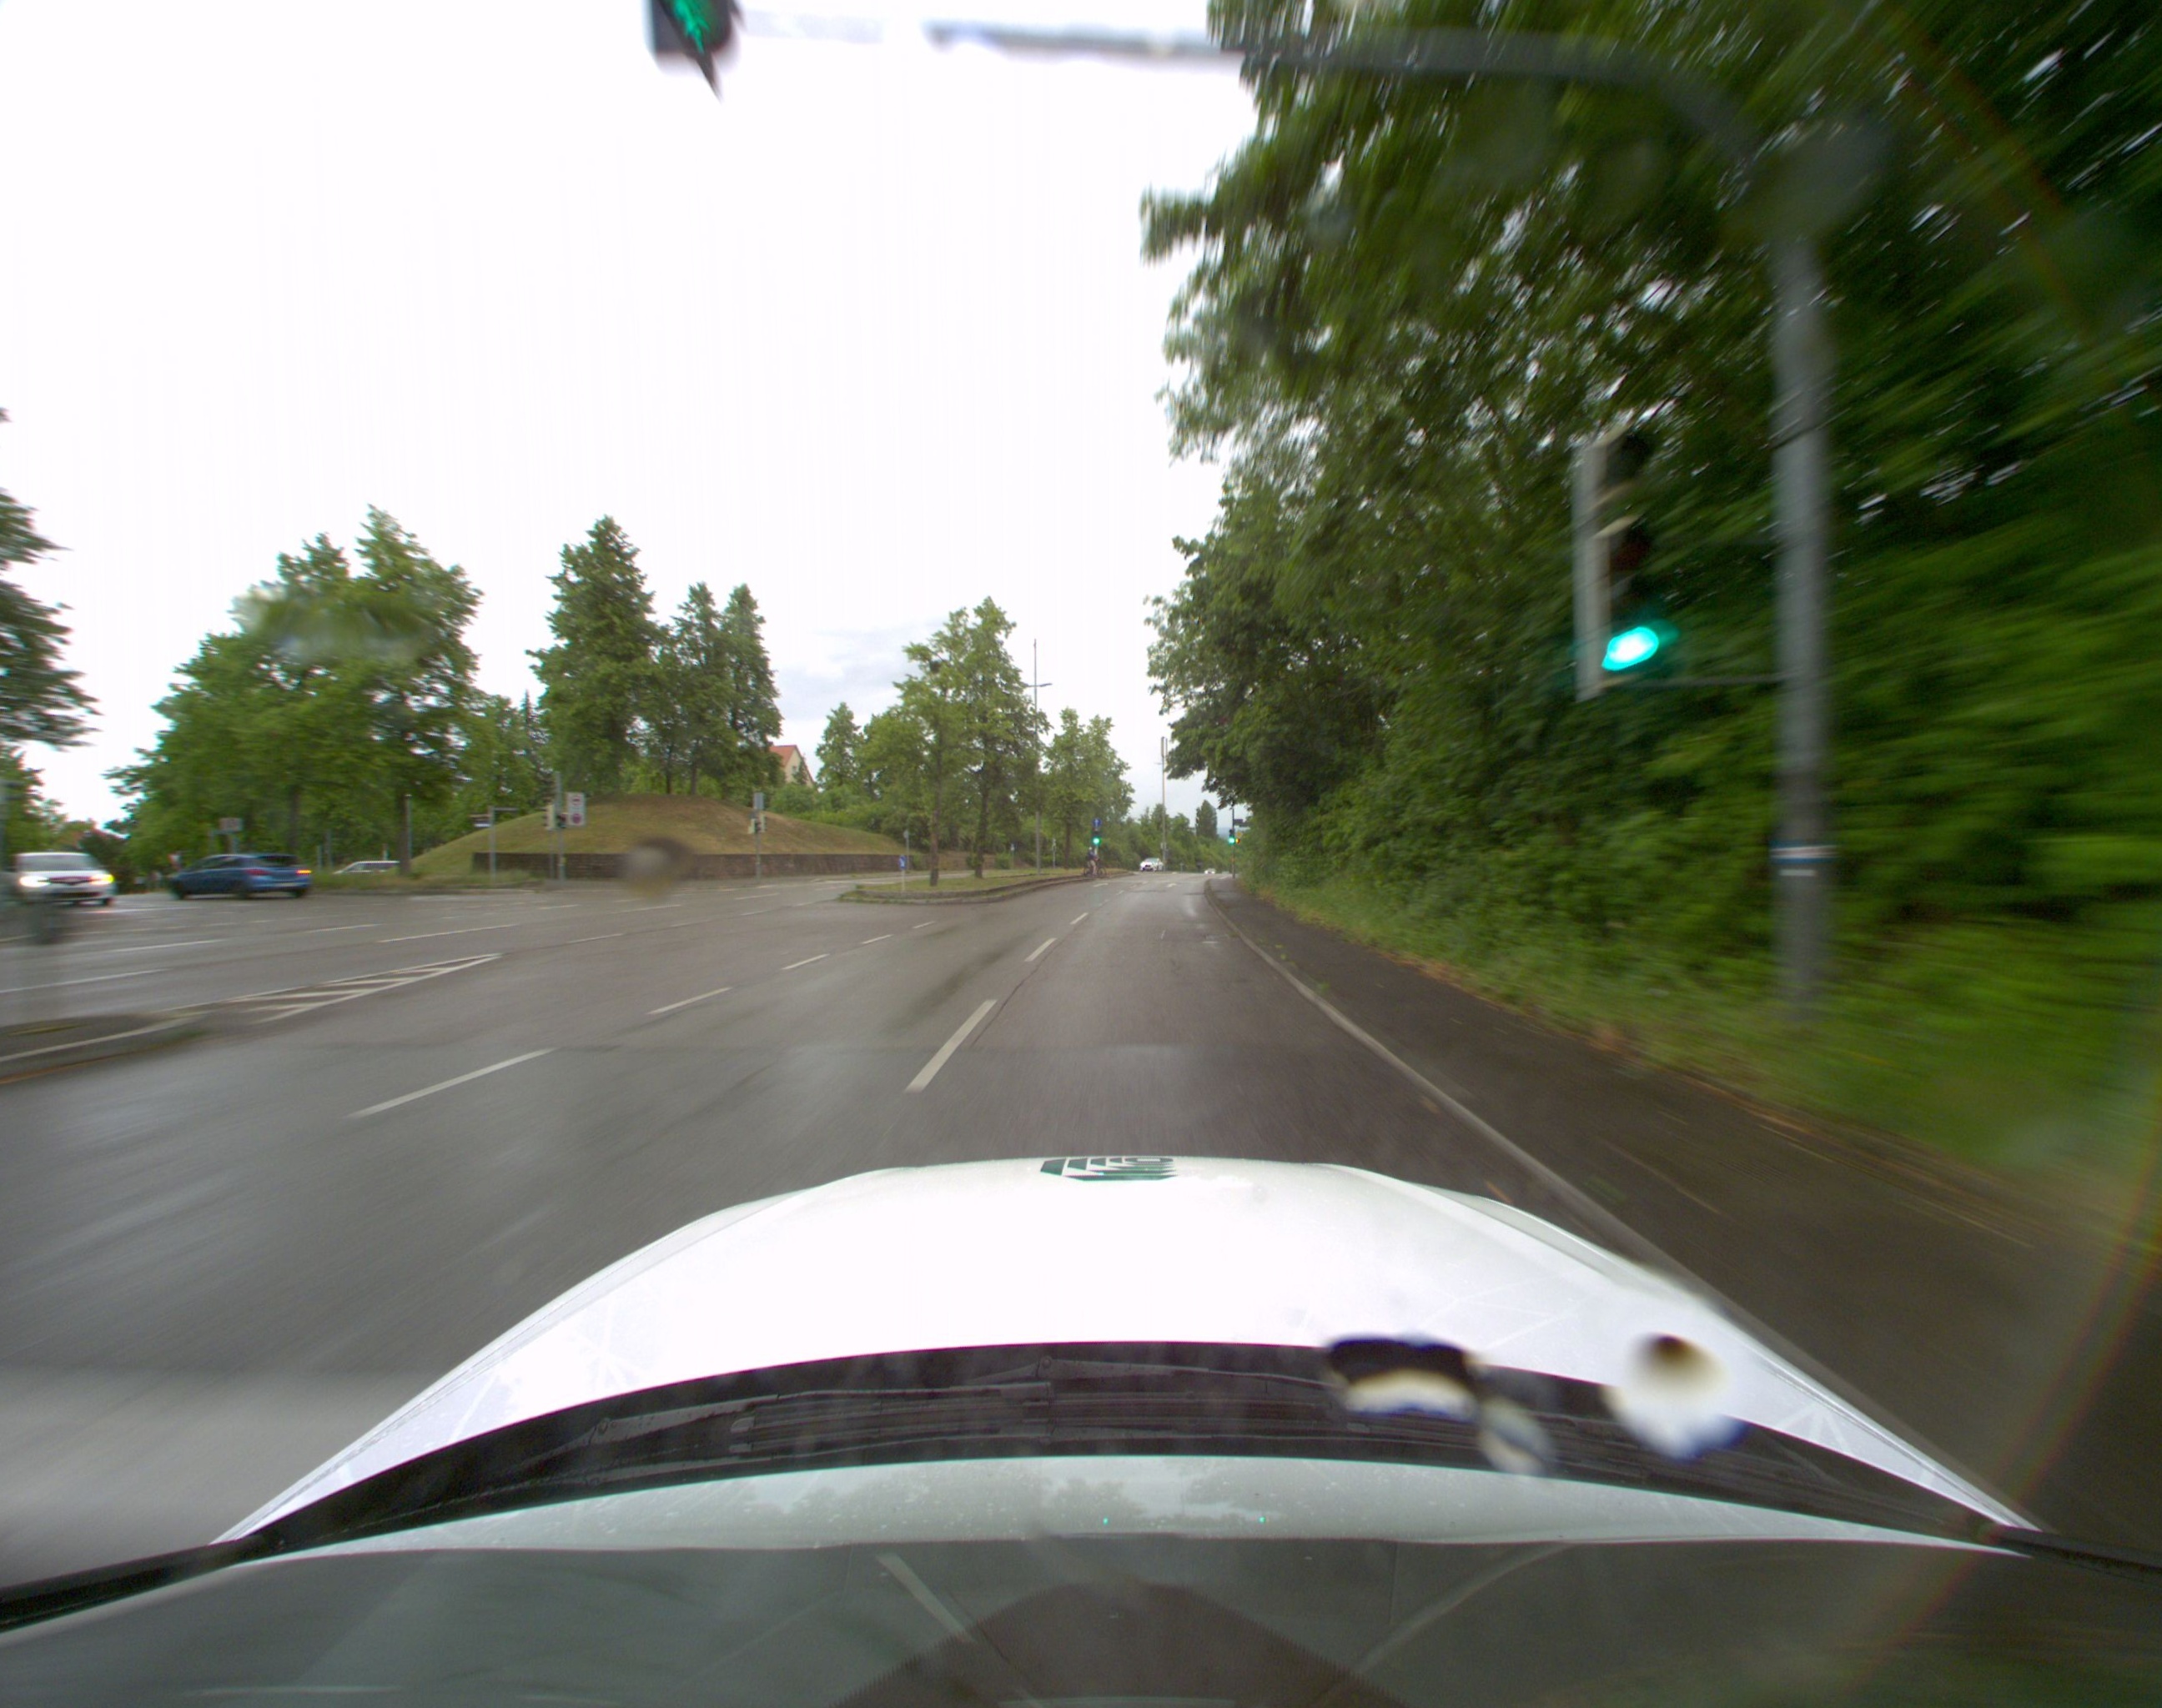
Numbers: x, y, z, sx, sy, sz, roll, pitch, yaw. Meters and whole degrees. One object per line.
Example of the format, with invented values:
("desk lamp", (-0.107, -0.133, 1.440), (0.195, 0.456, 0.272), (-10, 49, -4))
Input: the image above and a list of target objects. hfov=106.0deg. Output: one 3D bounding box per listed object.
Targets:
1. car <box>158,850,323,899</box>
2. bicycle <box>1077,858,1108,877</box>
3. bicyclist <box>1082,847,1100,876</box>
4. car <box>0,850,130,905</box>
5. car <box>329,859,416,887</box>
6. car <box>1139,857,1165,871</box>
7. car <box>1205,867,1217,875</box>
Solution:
("car", (-27.355, 0.634, 26.559), (3.896, 1.490, 2.007), (0, 0, 13))
("bicycle", (0.734, 0.842, 50.335), (2.152, 1.143, 0.547), (1, -1, -44))
("bicyclist", (0.641, 0.462, 50.242), (0.806, 1.752, 0.716), (2, -4, -44))
("car", (-29.486, 0.640, 23.525), (3.651, 1.478, 1.772), (0, -1, 27))
("car", (-48.219, 1.257, 55.544), (4.002, 1.852, 1.986), (0, 0, -22))
("car", (8.435, 1.201, 96.193), (1.930, 1.636, 5.027), (0, -1, 17))
("car", (25.197, 3.282, 158.139), (1.765, 1.472, 4.663), (0, -2, 15))
